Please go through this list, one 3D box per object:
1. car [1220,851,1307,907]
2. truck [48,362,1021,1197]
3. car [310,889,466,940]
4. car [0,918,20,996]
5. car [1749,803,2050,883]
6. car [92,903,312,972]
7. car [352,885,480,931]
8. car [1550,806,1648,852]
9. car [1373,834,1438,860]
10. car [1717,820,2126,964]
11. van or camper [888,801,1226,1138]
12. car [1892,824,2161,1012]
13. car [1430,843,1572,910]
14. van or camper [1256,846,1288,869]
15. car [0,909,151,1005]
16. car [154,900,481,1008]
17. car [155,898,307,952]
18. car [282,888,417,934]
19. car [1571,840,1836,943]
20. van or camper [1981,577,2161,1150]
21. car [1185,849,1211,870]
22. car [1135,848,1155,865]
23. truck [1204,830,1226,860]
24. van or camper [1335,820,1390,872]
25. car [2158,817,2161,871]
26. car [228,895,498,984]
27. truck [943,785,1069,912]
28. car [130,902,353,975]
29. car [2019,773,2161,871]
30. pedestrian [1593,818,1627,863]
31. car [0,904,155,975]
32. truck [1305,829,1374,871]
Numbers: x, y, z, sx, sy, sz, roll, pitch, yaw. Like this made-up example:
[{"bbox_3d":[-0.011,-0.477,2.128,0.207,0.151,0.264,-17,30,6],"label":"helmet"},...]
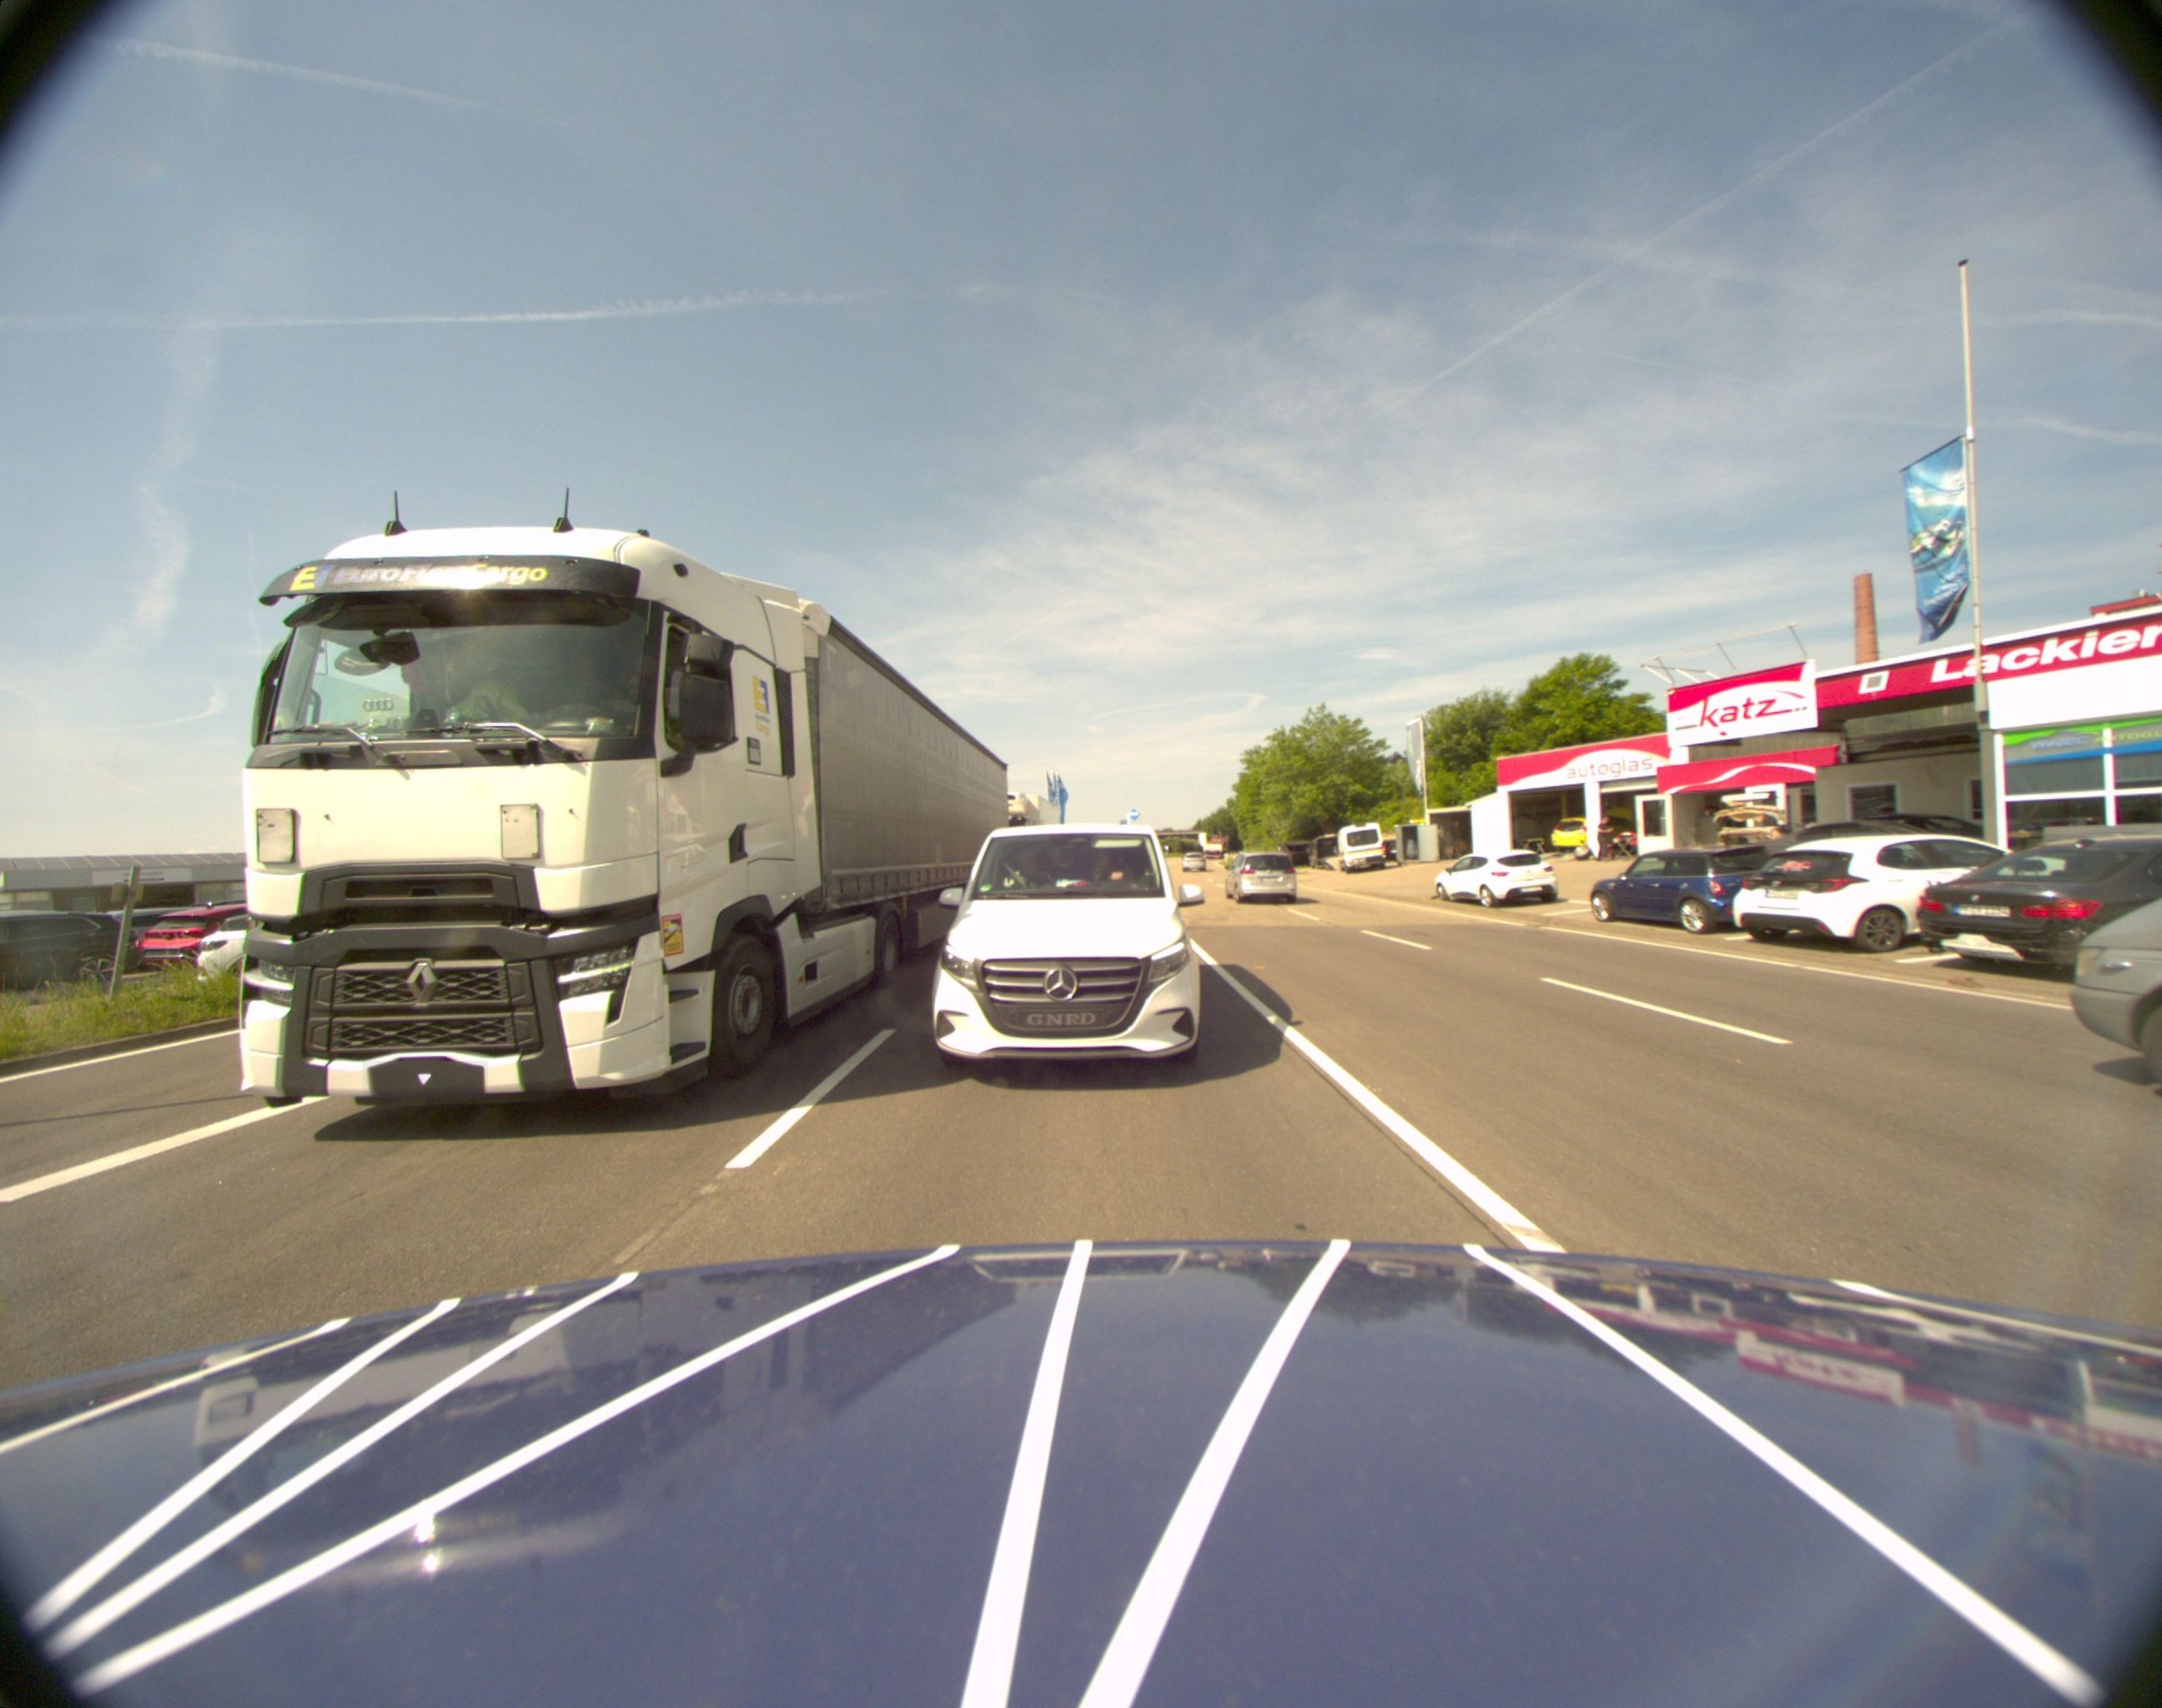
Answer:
[{"bbox_3d":[5.843,0.735,24.847,1.914,1.653,4.180,-1,0,1],"label":"car"},{"bbox_3d":[-3.530,-0.399,12.313,2.897,4.241,16.711,-2,0,3],"label":"truck"},{"bbox_3d":[-24.968,2.162,27.469,3.996,1.565,1.790,-2,0,3],"label":"car"},{"bbox_3d":[-23.890,2.236,14.464,1.856,1.608,3.828,-3,0,5],"label":"car"},{"bbox_3d":[19.036,-0.178,17.983,1.861,1.496,4.390,-5,-1,-22],"label":"car"},{"bbox_3d":[-23.281,2.159,20.347,1.562,1.401,3.596,-1,1,3],"label":"car"},{"bbox_3d":[-27.815,2.227,31.971,1.789,1.565,4.000,-2,0,0],"label":"car"},{"bbox_3d":[23.138,-1.104,33.958,3.674,1.715,1.736,-6,2,-21],"label":"car"},{"bbox_3d":[21.089,-0.435,49.439,3.675,1.521,1.736,-3,1,-22],"label":"car"},{"bbox_3d":[11.864,0.498,10.931,3.806,1.516,1.846,-6,0,-1],"label":"car"},{"bbox_3d":[-0.029,0.721,7.334,1.998,2.002,5.291,-3,0,3],"label":"van or camper"},{"bbox_3d":[11.515,0.552,8.133,3.717,1.516,1.792,-6,0,-1],"label":"car"},{"bbox_3d":[11.371,0.543,20.923,1.783,1.608,4.000,-3,0,2],"label":"car"},{"bbox_3d":[14.184,0.240,56.599,1.643,1.515,4.469,-3,1,6],"label":"van or camper"},{"bbox_3d":[-21.408,2.067,14.436,1.998,1.647,4.283,-3,0,5],"label":"car"},{"bbox_3d":[-13.233,1.669,13.511,3.669,1.394,1.735,-3,0,-25],"label":"car"},{"bbox_3d":[-30.399,2.521,27.247,3.648,1.641,1.755,-3,0,6],"label":"car"},{"bbox_3d":[-30.847,2.369,32.240,1.789,1.565,4.000,-2,0,0],"label":"car"},{"bbox_3d":[11.242,0.587,14.124,1.783,1.485,3.782,-6,0,2],"label":"car"},{"bbox_3d":[6.797,0.046,1.880,2.213,3.038,5.902,-1,0,1],"label":"van or camper"},{"bbox_3d":[9.333,0.424,60.921,1.913,1.512,4.783,-2,0,7],"label":"car"},{"bbox_3d":[6.173,0.264,74.030,1.810,1.551,4.388,-1,0,4],"label":"car"},{"bbox_3d":[19.782,-1.264,111.622,2.961,4.184,10.656,0,0,11],"label":"truck"},{"bbox_3d":[15.527,-0.466,42.213,2.157,2.484,5.956,-6,0,15],"label":"van or camper"},{"bbox_3d":[11.411,0.337,5.737,3.896,1.706,1.806,-6,0,0],"label":"car"},{"bbox_3d":[-14.711,1.693,15.861,3.669,1.394,1.735,-3,0,-25],"label":"car"},{"bbox_3d":[-2.405,-0.202,28.896,2.886,3.789,11.143,-2,0,4],"label":"truck"},{"bbox_3d":[-21.125,2.067,19.357,1.562,1.401,3.596,-1,1,3],"label":"car"},{"bbox_3d":[20.584,-0.644,14.030,1.706,1.749,3.754,-6,2,-24],"label":"car"},{"bbox_3d":[21.098,-0.541,30.302,0.724,1.752,0.895,-3,1,4],"label":"pedestrian"},{"bbox_3d":[-28.623,2.339,20.689,1.707,1.608,3.971,-3,0,6],"label":"car"},{"bbox_3d":[16.832,-0.296,50.054,2.335,2.283,8.806,-7,0,7],"label":"truck"}]
